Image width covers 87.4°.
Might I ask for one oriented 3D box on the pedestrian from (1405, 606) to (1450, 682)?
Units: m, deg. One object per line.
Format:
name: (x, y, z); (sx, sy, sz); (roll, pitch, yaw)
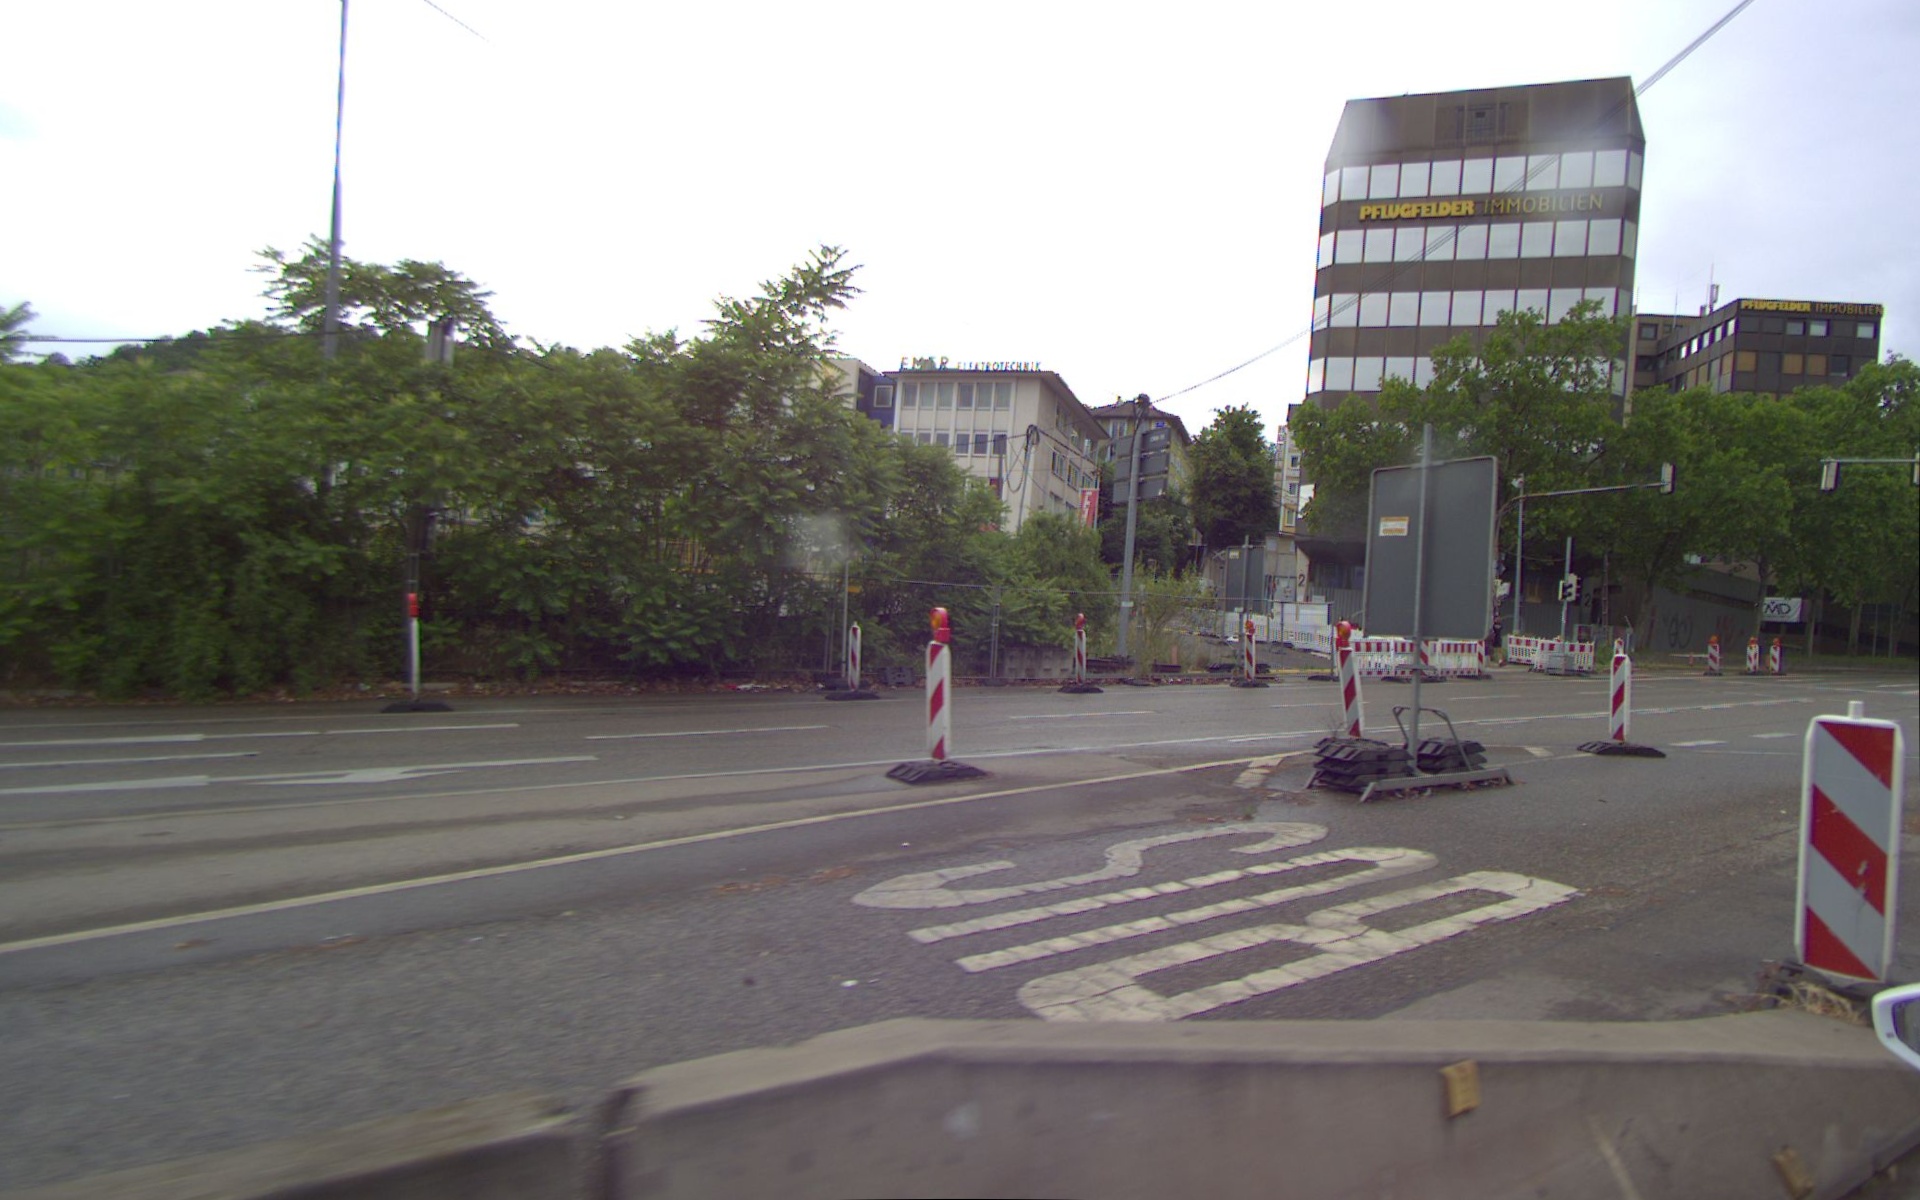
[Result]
pedestrian: (12.287, 1.160, 26.387); (0.767, 1.926, 0.669); (4, -1, -31)

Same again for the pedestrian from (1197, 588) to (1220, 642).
pedestrian: (10.263, 0.607, 41.479); (0.728, 2.168, 0.747); (3, -1, 20)

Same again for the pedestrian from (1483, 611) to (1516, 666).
pedestrian: (19.394, 1.392, 36.110); (0.742, 1.905, 0.733); (4, -1, -43)

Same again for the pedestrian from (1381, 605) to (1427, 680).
pedestrian: (11.945, 1.137, 27.035); (0.734, 1.947, 0.757); (4, -1, -31)

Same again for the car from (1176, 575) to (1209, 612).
car: (18.052, -0.449, 77.838); (2.184, 2.474, 5.508); (4, -1, 15)

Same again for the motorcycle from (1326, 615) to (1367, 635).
motorcycle: (21.910, 1.402, 56.999); (2.141, 1.051, 0.566); (2, 0, 22)
